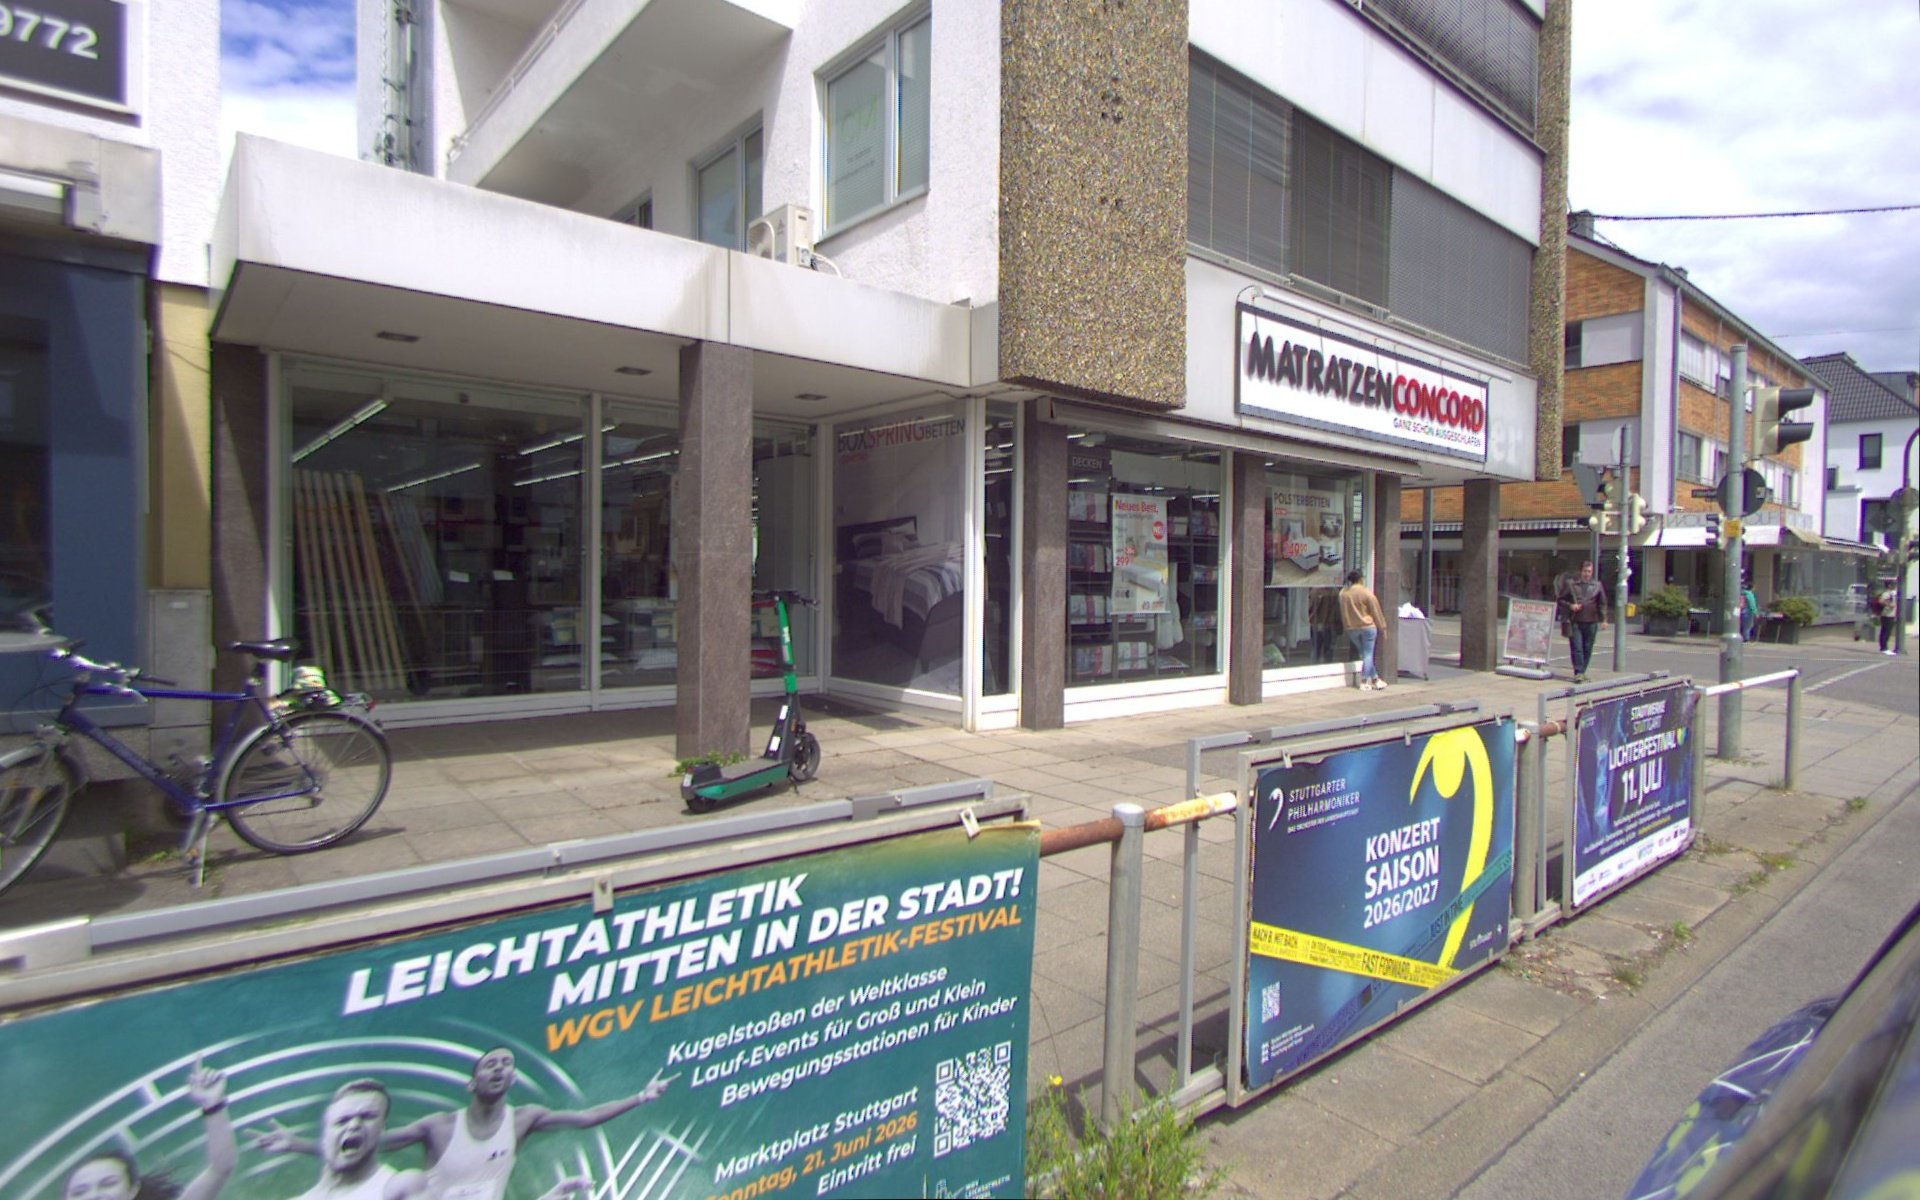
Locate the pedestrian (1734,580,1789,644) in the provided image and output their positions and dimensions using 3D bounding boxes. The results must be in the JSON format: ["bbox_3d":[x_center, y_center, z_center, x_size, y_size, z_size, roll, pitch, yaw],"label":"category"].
[{"bbox_3d":[19.977,0.278,25.245,0.808,1.544,0.775,2,1,19],"label":"pedestrian"}]

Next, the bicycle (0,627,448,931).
[{"bbox_3d":[-3.182,0.674,4.433,0.474,1.040,1.612,2,2,40],"label":"bicycle"}]

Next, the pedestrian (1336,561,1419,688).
[{"bbox_3d":[5.212,0.284,12.635,0.707,1.517,0.681,0,2,-40],"label":"pedestrian"}]

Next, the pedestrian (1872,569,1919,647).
[{"bbox_3d":[22.804,0.183,24.575,0.862,1.853,0.583,1,2,-24],"label":"pedestrian"}]

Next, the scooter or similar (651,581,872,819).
[{"bbox_3d":[-1.197,0.534,6.221,0.686,1.283,1.169,2,2,37],"label":"scooter or similar"}]

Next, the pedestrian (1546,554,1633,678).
[{"bbox_3d":[8.993,0.208,14.465,0.793,1.691,0.796,0,2,-41],"label":"pedestrian"}]
